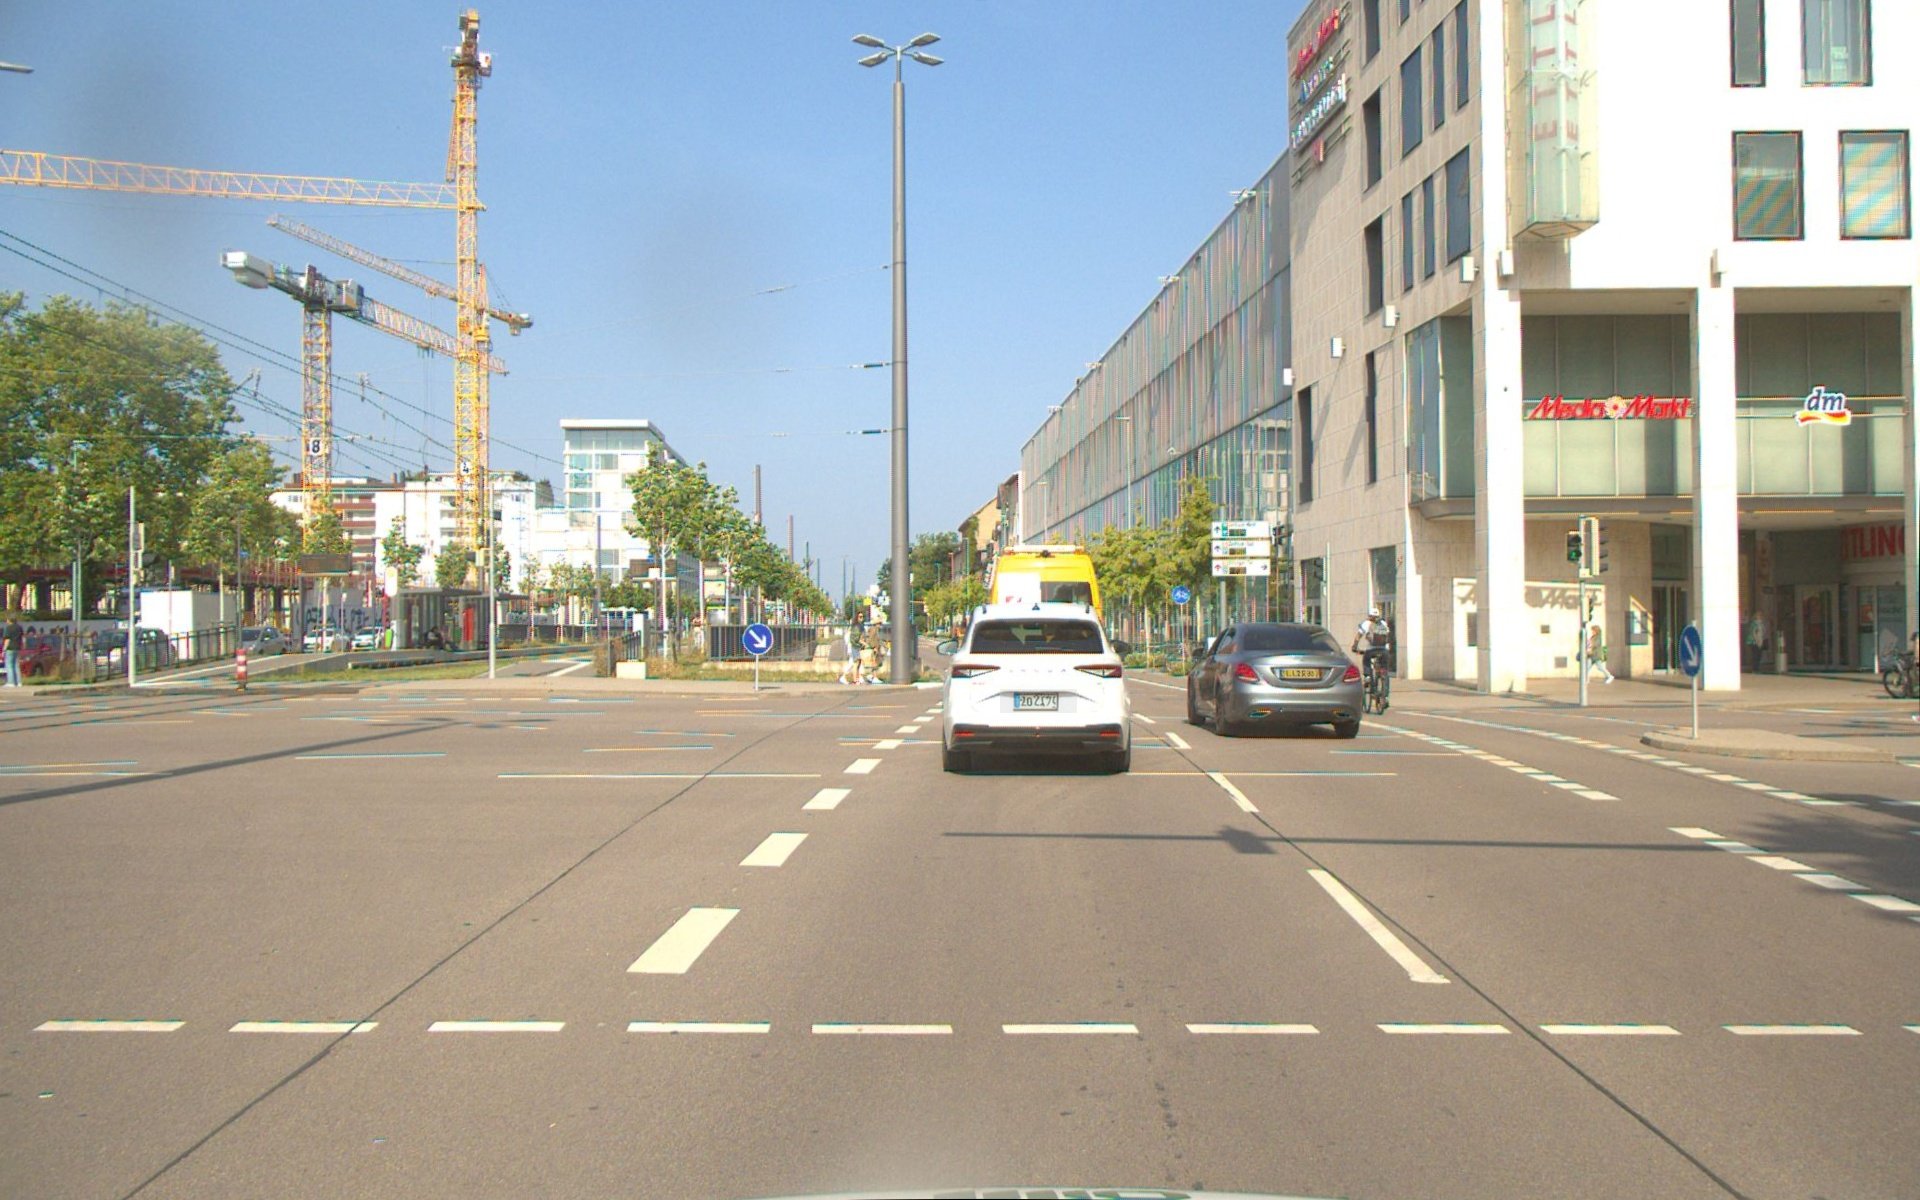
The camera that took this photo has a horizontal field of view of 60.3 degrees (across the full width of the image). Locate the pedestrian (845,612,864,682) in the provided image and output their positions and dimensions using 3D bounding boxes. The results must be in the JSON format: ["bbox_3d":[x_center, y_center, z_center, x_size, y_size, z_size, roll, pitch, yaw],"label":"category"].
[{"bbox_3d":[-2.546,1.136,39.985,0.458,1.679,0.777,0,-1,-3],"label":"pedestrian"}]

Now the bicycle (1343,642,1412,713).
[{"bbox_3d":[7.151,1.315,28.409,0.647,1.137,2.050,0,-1,-1],"label":"bicycle"}]

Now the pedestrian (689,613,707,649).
[{"bbox_3d":[-12.075,1.436,76.201,0.721,1.647,0.710,0,-1,-4],"label":"pedestrian"}]

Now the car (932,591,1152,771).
[{"bbox_3d":[0.709,0.748,16.875,1.832,1.602,3.997,0,-1,-3],"label":"car"}]

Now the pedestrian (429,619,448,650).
[{"bbox_3d":[-22.807,1.498,72.347,0.667,1.323,0.591,0,-1,-7],"label":"pedestrian"}]

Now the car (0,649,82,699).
[{"bbox_3d":[-28.238,2.211,50.072,1.688,1.385,3.692,0,-1,-7],"label":"car"}]

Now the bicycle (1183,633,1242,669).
[{"bbox_3d":[8.189,1.653,53.715,1.802,1.132,0.687,1,-1,-2],"label":"bicycle"}]

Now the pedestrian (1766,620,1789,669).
[{"bbox_3d":[22.783,1.233,46.116,0.384,1.364,0.455,0,-1,-3],"label":"pedestrian"}]

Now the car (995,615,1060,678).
[{"bbox_3d":[2.102,1.473,52.542,1.675,1.895,3.791,1,-1,-3],"label":"car"}]

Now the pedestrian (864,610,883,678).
[{"bbox_3d":[-2.146,1.080,41.011,0.458,1.679,0.777,0,-1,-3],"label":"pedestrian"}]

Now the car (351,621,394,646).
[{"bbox_3d":[-35.764,2.015,100.774,1.564,1.489,3.431,0,-1,-3],"label":"car"}]

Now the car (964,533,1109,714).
[{"bbox_3d":[1.220,0.380,28.871,1.980,2.845,5.397,0,0,-3],"label":"car"}]

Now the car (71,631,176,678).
[{"bbox_3d":[-28.454,1.823,56.387,1.610,1.495,4.399,0,-1,-4],"label":"car"}]

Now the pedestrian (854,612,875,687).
[{"bbox_3d":[-2.172,1.118,37.617,0.458,1.679,0.777,0,-1,-3],"label":"pedestrian"}]

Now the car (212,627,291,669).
[{"bbox_3d":[-29.512,1.956,69.021,1.686,1.691,4.148,0,-1,-3],"label":"car"}]

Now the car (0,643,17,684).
[{"bbox_3d":[-33.198,2.151,55.210,1.566,1.371,4.413,0,0,-10],"label":"car"}]

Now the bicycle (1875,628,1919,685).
[{"bbox_3d":[20.724,1.222,36.010,0.490,1.220,1.791,0,-1,-4],"label":"bicycle"}]

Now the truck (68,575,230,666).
[{"bbox_3d":[-34.950,0.859,71.713,2.961,3.649,8.885,-1,0,-2],"label":"truck"}]

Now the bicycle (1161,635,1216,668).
[{"bbox_3d":[7.990,1.791,57.884,1.840,1.129,0.490,0,-1,-2],"label":"bicycle"}]

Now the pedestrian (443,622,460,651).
[{"bbox_3d":[-23.153,1.652,75.296,0.667,1.323,0.591,0,-1,-7],"label":"pedestrian"}]

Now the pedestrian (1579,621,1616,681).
[{"bbox_3d":[16.359,1.301,42.428,0.693,1.513,0.604,0,-1,-1],"label":"pedestrian"}]

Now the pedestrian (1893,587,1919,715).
[{"bbox_3d":[13.344,0.695,22.637,0.629,1.741,0.990,0,-1,5],"label":"pedestrian"}]

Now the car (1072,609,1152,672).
[{"bbox_3d":[4.763,1.245,52.345,1.911,1.882,4.432,0,-1,-3],"label":"car"}]

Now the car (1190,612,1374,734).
[{"bbox_3d":[4.143,0.902,21.867,1.724,1.461,4.115,0,-1,1],"label":"car"}]

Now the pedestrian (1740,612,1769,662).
[{"bbox_3d":[22.718,1.064,47.275,0.553,1.408,0.492,0,-1,-9],"label":"pedestrian"}]

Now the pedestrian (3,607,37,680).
[{"bbox_3d":[-22.274,1.033,39.191,0.362,1.705,0.640,-1,-1,13],"label":"pedestrian"}]

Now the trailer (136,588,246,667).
[{"bbox_3d":[-28.969,1.037,62.483,2.004,2.830,5.017,1,-1,-4],"label":"trailer"}]

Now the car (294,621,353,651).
[{"bbox_3d":[-35.303,1.982,91.837,1.756,1.609,4.612,0,-1,-3],"label":"car"}]

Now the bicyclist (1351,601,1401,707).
[{"bbox_3d":[7.148,0.918,28.414,0.638,1.779,0.769,0,-1,-1],"label":"bicyclist"}]

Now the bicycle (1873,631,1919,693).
[{"bbox_3d":[19.938,1.285,34.492,0.600,1.259,2.069,0,-1,-1],"label":"bicycle"}]
